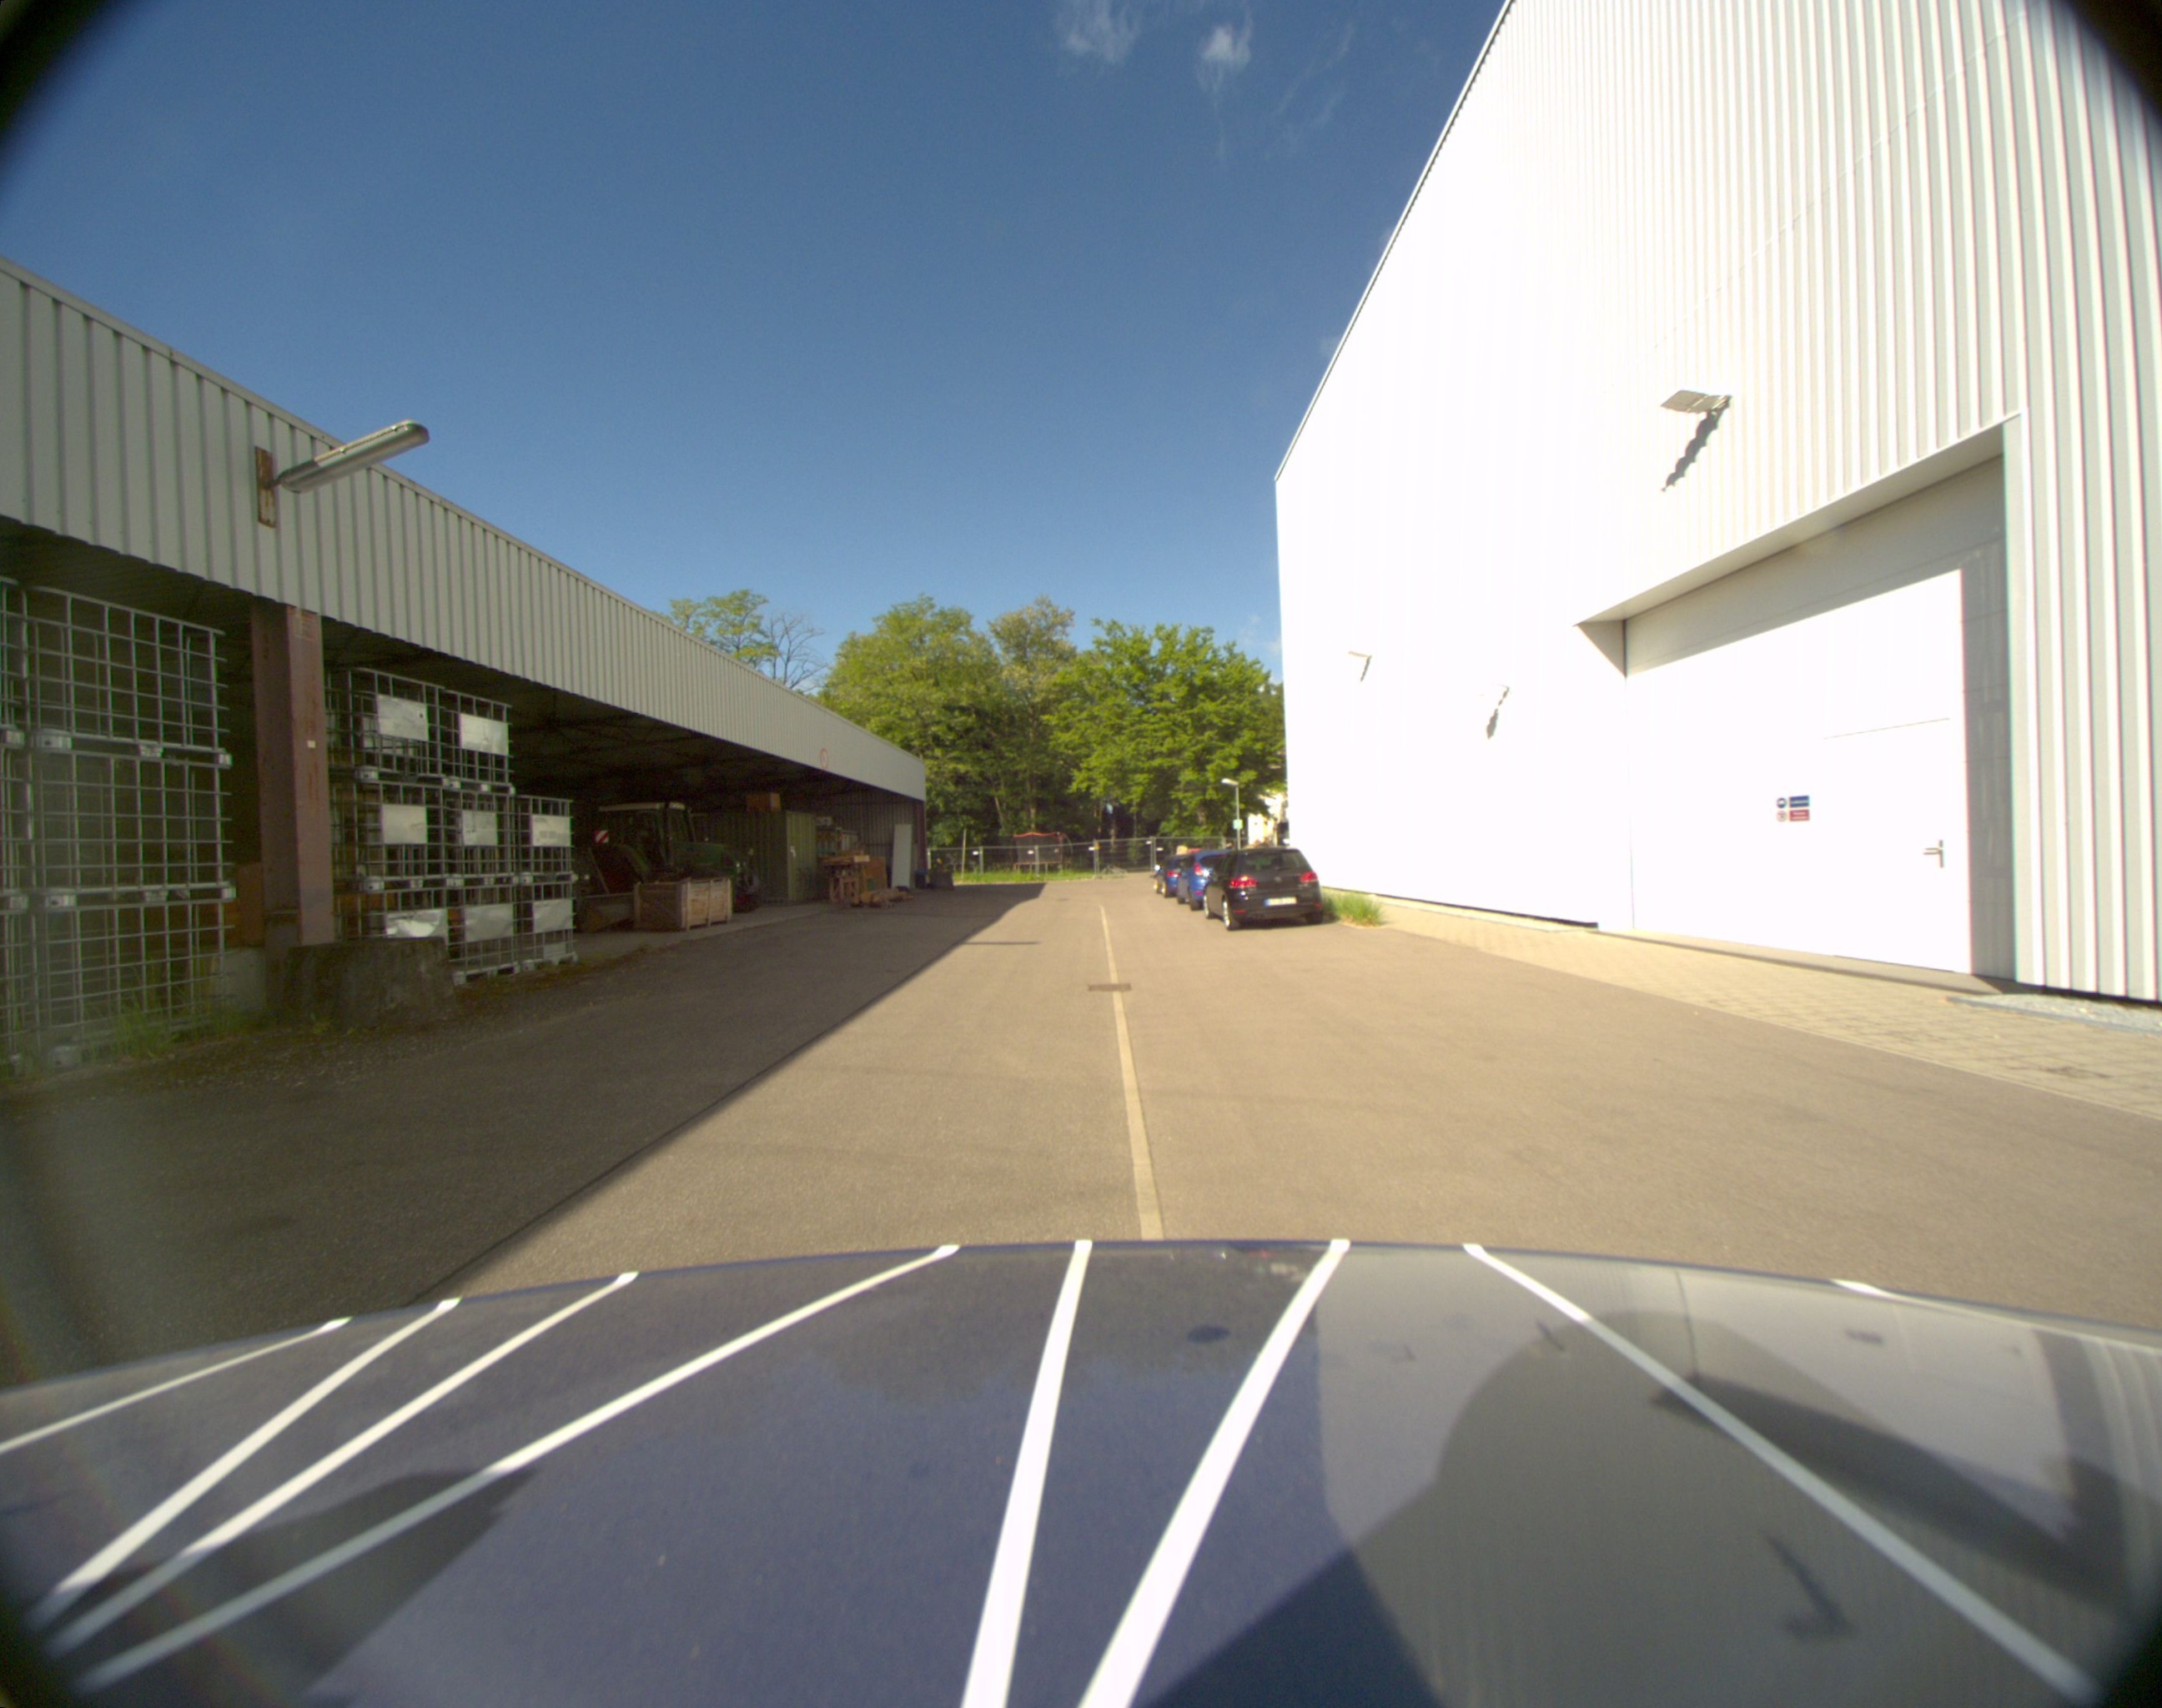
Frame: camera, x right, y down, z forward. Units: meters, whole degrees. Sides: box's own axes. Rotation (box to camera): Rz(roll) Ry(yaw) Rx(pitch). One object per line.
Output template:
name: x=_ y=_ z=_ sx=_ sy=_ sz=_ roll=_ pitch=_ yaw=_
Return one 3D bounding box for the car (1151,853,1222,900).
car: x=3.470 y=0.691 z=25.562 sx=1.778 sy=1.353 sz=4.053 roll=-3 pitch=0 yaw=0

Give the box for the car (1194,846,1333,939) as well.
car: x=3.457 y=0.653 z=15.217 sx=1.759 sy=1.491 sz=4.294 roll=-4 pitch=0 yaw=1

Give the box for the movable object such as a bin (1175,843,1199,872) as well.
movable object such as a bin: x=6.164 y=0.206 z=44.242 sx=1.093 sy=1.588 sz=1.230 roll=-3 pitch=3 yaw=-5

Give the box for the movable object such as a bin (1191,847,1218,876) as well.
movable object such as a bin: x=6.642 y=0.389 z=41.010 sx=1.093 sy=1.424 sz=1.230 roll=-4 pitch=2 yaw=-5

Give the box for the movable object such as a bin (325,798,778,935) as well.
movable object such as a bin: x=-12.991 y=0.296 z=19.285 sx=9.214 sy=2.893 sz=3.212 roll=-2 pitch=1 yaw=2

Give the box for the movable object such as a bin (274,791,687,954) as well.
movable object such as a bin: x=-12.231 y=0.357 z=15.970 sx=6.200 sy=2.893 sz=3.016 roll=-2 pitch=1 yaw=2

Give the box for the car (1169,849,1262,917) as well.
car: x=3.432 y=0.670 z=20.114 sx=1.635 sy=1.491 sz=4.094 roll=-5 pitch=0 yaw=0

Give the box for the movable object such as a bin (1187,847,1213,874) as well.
movable object such as a bin: x=6.620 y=0.347 z=42.343 sx=1.093 sy=1.431 sz=1.230 roll=-4 pitch=2 yaw=-5
